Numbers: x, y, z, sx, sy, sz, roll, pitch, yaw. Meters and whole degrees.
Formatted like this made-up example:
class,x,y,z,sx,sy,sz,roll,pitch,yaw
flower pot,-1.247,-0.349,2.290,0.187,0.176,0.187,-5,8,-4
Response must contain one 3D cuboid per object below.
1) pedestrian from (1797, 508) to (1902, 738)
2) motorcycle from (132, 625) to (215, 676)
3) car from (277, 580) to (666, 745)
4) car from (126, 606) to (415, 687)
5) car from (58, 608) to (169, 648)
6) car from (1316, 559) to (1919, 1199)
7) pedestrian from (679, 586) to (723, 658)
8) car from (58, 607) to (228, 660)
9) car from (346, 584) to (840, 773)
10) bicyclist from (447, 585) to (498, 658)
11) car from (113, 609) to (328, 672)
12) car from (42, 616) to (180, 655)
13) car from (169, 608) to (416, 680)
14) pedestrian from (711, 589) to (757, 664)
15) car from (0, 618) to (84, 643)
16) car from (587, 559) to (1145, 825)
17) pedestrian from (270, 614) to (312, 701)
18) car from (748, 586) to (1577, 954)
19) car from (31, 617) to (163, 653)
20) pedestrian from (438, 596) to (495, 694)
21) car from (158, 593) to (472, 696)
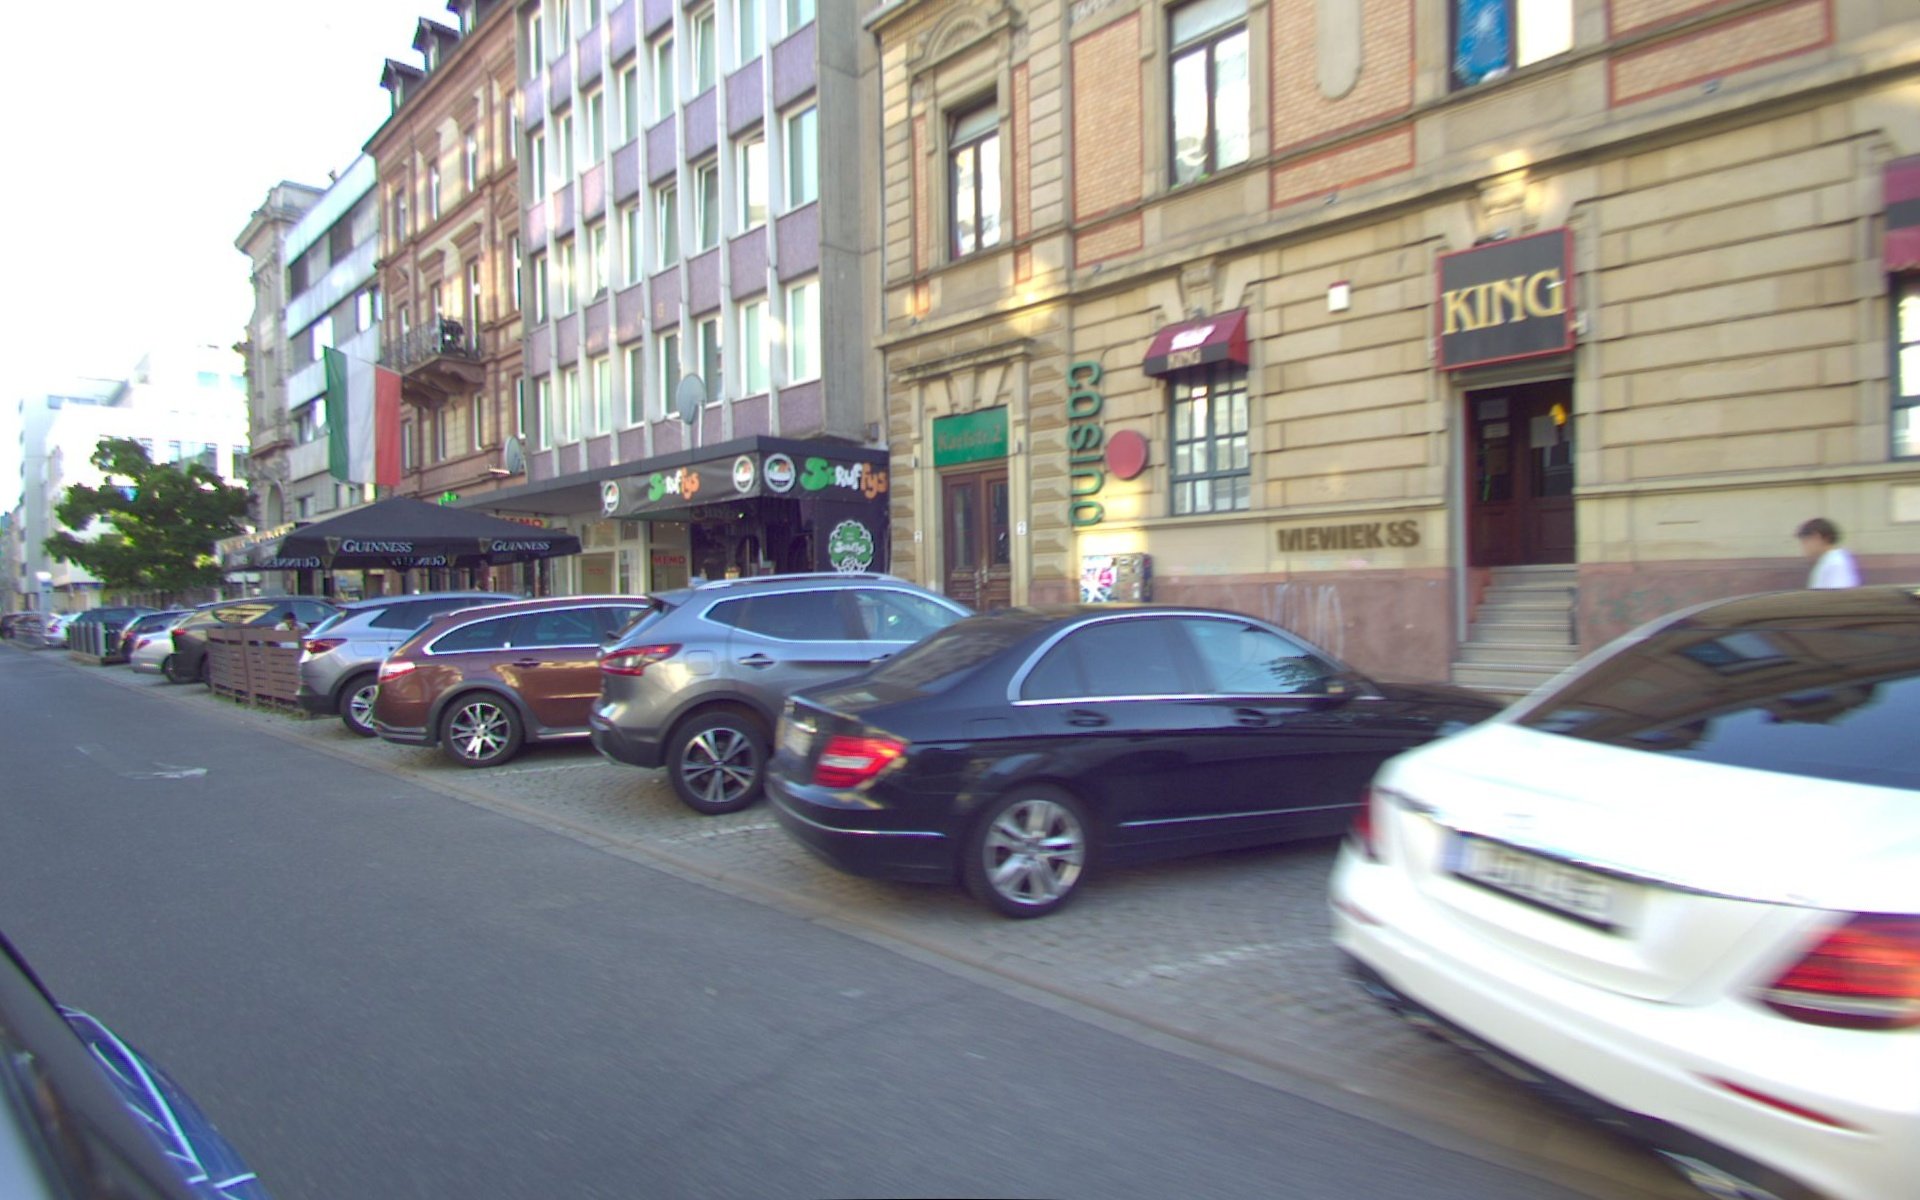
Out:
class,x,y,z,sx,sy,sz,roll,pitch,yaw
pedestrian,6.627,0.157,7.539,0.570,1.621,0.522,-3,1,-45
motorcycle,-19.593,1.244,25.240,1.560,1.166,0.459,-1,1,-31
car,-5.864,0.656,12.531,3.982,1.641,1.859,-3,1,-25
car,-14.605,0.946,21.764,4.759,1.516,1.914,-1,-1,-16
car,-44.133,1.428,52.891,4.354,1.977,1.912,-1,-1,-38
car,3.571,0.620,2.984,4.550,1.523,1.774,-3,1,-18
pedestrian,-4.809,0.402,18.779,0.566,1.318,0.576,-1,0,-45
car,-29.970,1.184,37.308,4.764,1.787,1.912,-1,-1,-38
car,-3.443,0.669,10.059,4.224,1.560,1.715,-1,0,-15
bicyclist,-10.859,0.463,22.546,0.813,1.571,0.757,-1,1,44
car,-20.910,1.084,28.725,4.767,1.579,1.911,-1,-1,-42
car,-35.430,1.454,42.405,4.354,1.436,1.912,-1,-1,-38
car,-15.963,1.009,24.554,4.758,1.516,1.914,-1,-1,-25
pedestrian,-4.021,0.464,18.032,0.566,1.318,0.576,-1,0,-45
car,-58.044,1.904,63.642,4.354,1.436,1.912,-1,-1,-38
car,-0.782,0.578,7.901,3.981,1.669,1.799,-1,-1,-20
pedestrian,-11.261,0.952,17.031,0.567,1.427,0.543,-1,-1,-34
car,1.076,0.687,5.586,4.178,1.458,1.716,-1,-1,-20
car,-38.027,1.531,44.764,4.354,1.436,1.912,-1,-1,-38
pedestrian,-7.407,0.659,15.188,0.675,1.427,0.568,-2,-1,44
car,-12.138,0.793,19.441,4.759,1.746,1.914,-1,-1,-19
